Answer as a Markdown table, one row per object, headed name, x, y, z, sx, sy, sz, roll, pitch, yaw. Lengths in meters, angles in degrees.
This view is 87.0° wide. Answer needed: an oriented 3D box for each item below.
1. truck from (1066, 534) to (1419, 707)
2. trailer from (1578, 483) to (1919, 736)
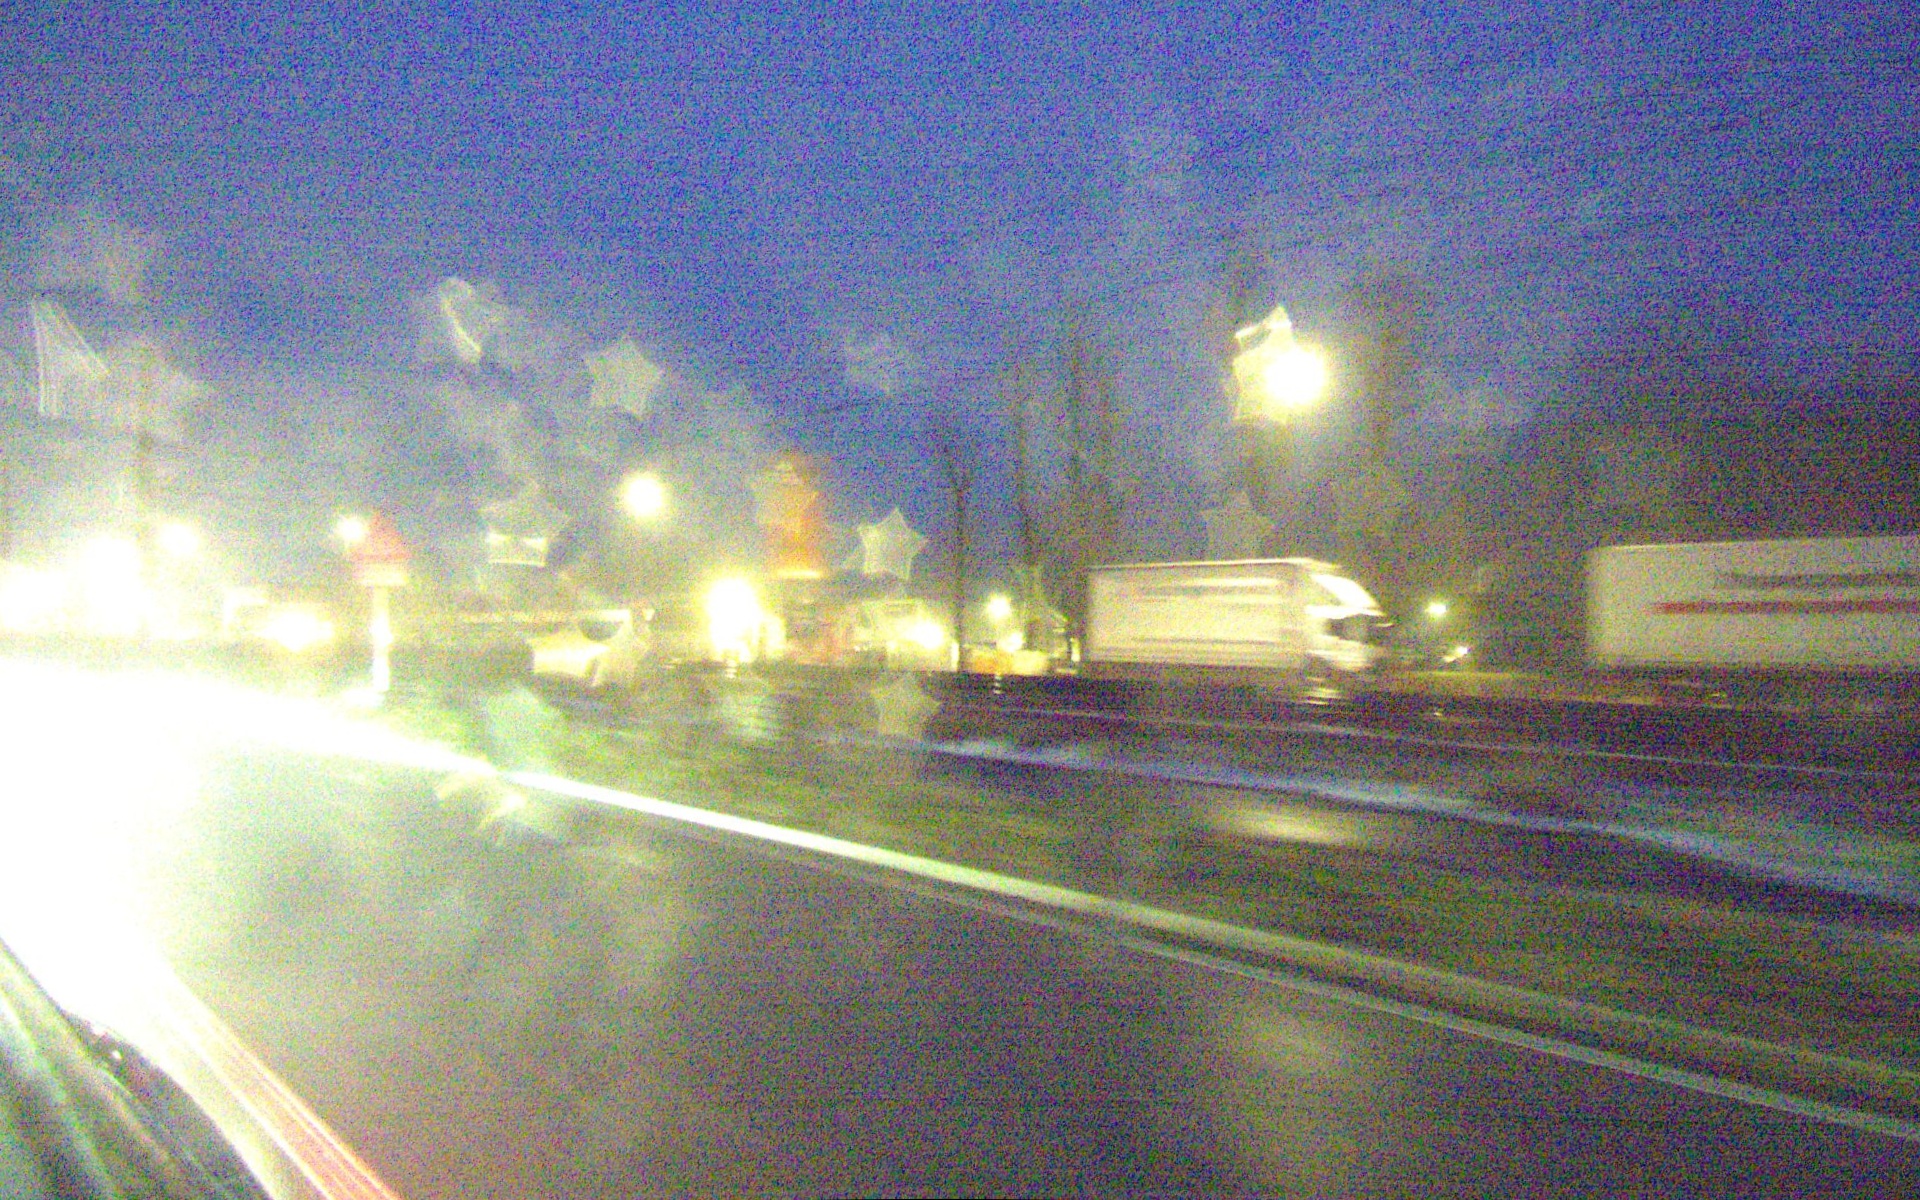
| name | x | y | z | sx | sy | sz | roll | pitch | yaw |
| --- | --- | --- | --- | --- | --- | --- | --- | --- | --- |
| truck | 8.510 | 0.564 | 31.750 | 10.206 | 4.644 | 3.404 | -1 | 0 | 41 |
| trailer | 21.576 | 0.166 | 20.697 | 14.826 | 5.050 | 3.930 | -1 | 0 | 41 |
